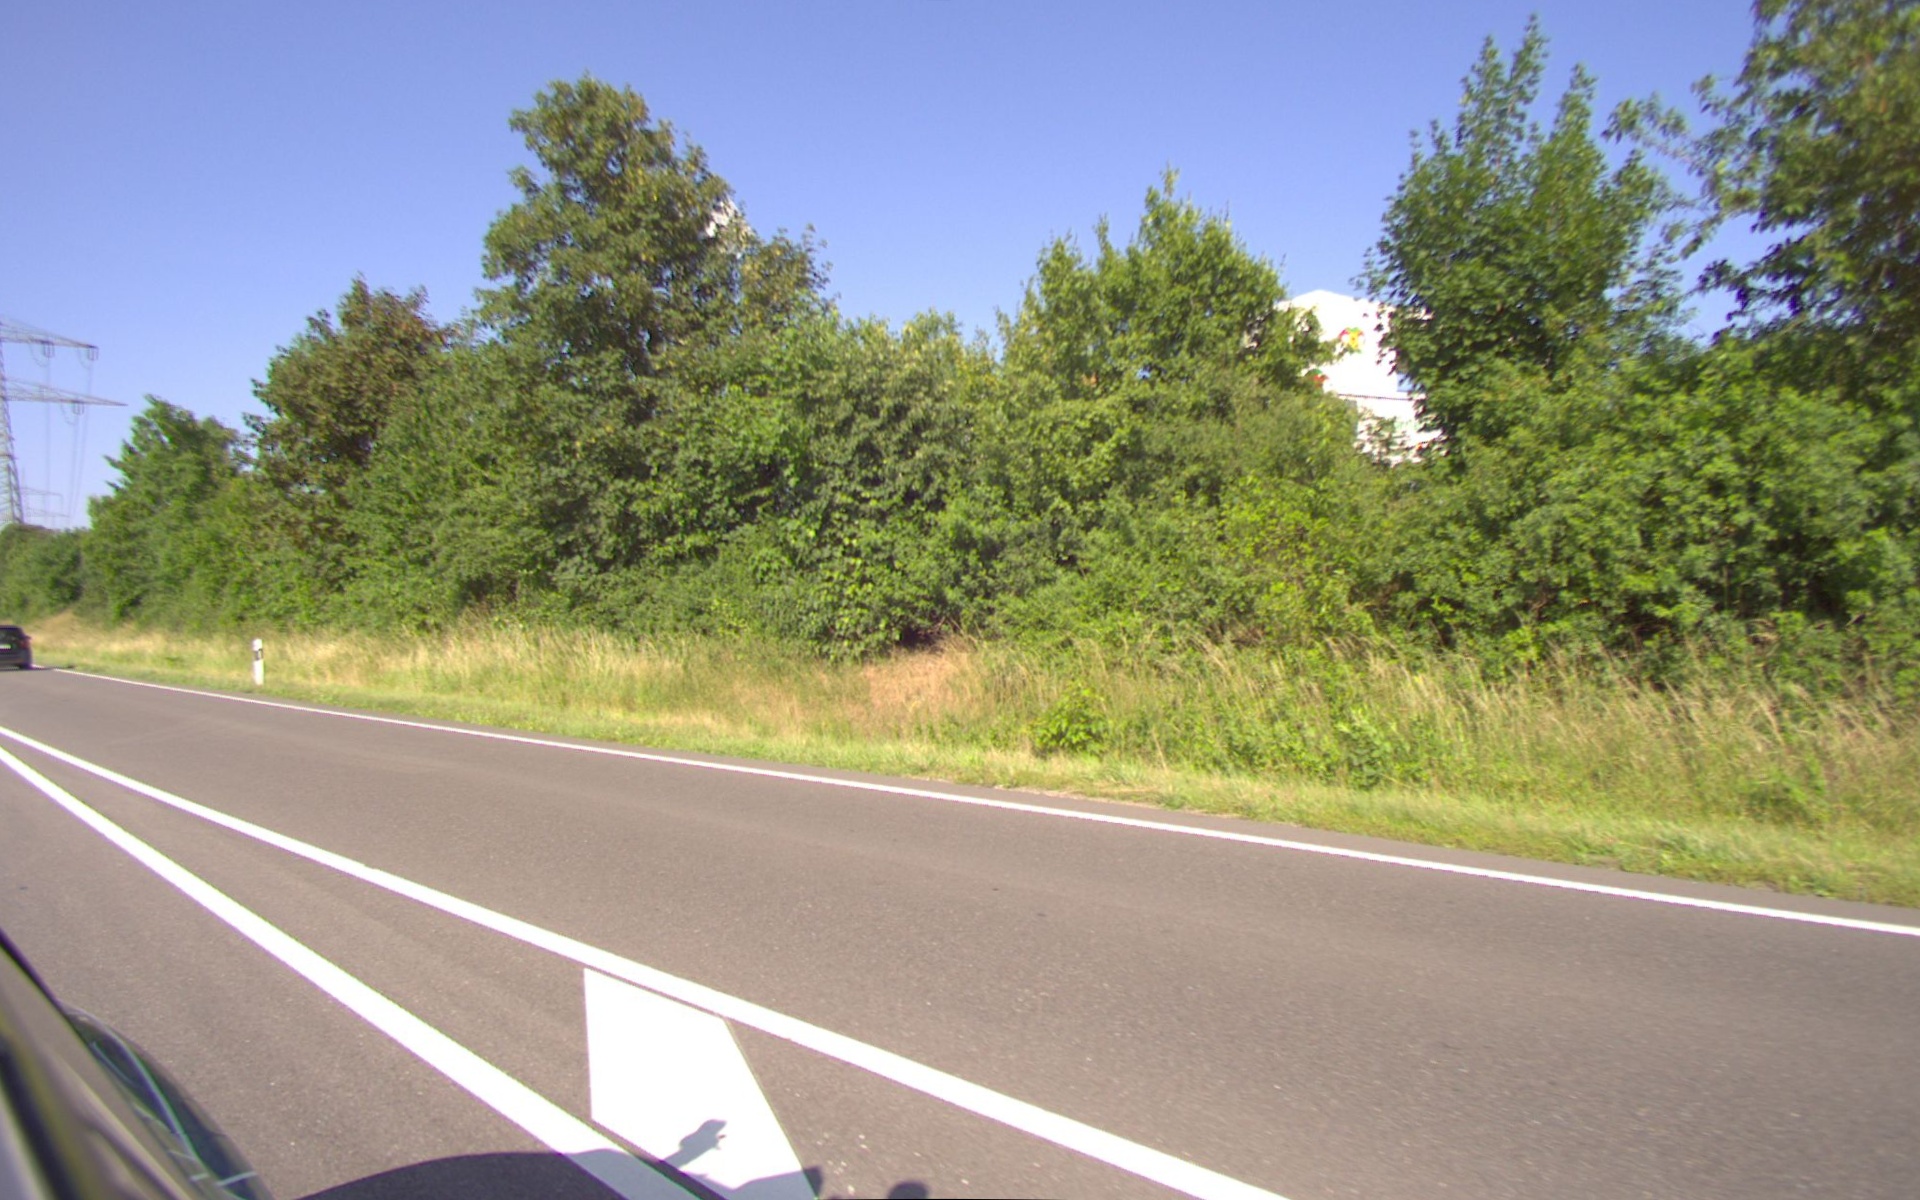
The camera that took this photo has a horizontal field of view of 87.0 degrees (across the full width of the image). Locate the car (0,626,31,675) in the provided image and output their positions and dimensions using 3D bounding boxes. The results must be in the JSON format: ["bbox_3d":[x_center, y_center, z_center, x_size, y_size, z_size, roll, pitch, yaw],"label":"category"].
[{"bbox_3d":[-32.485,1.668,33.644,3.996,1.571,1.838,-2,-2,40],"label":"car"}]
